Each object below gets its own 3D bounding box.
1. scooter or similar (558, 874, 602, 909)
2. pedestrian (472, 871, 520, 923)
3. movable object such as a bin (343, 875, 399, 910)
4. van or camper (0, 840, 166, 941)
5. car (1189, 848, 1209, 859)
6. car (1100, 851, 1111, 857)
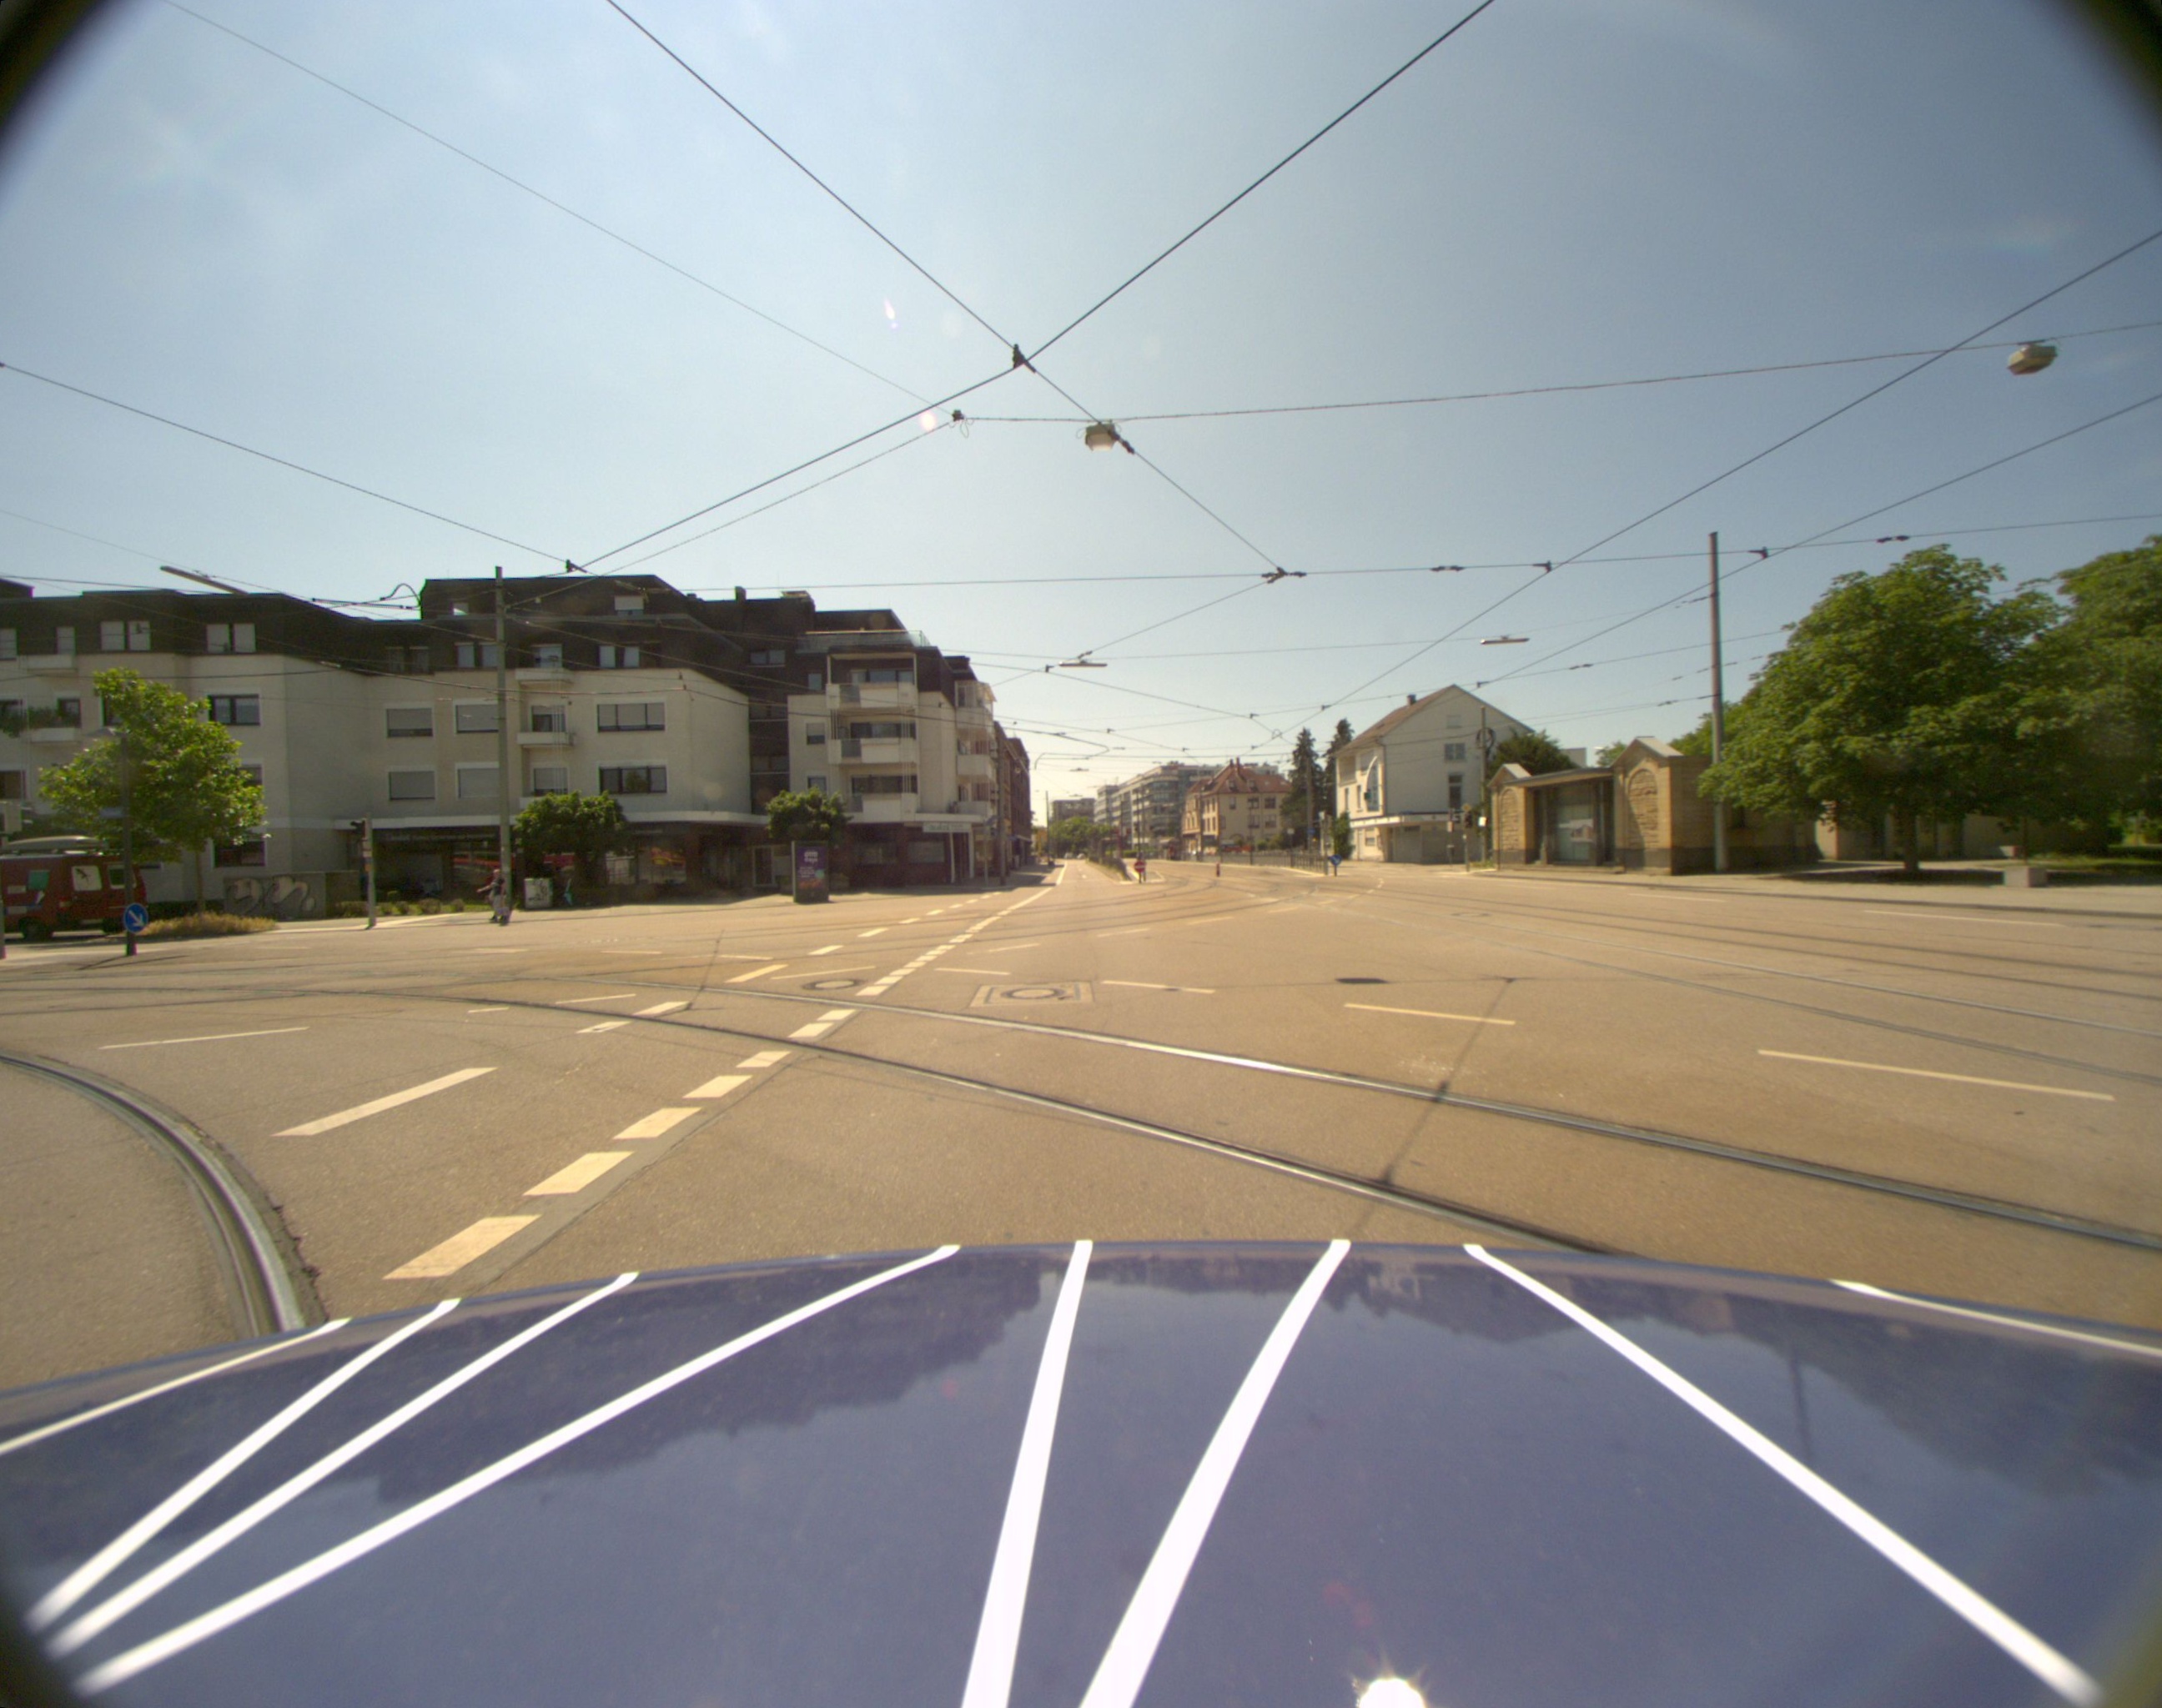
[{"bbox_3d":[-18.106,1.348,27.490,1.257,1.205,0.393,-2,0,-27],"label":"scooter or similar"},{"bbox_3d":[-18.136,1.321,23.572,0.827,1.574,0.827,-1,0,16],"label":"pedestrian"},{"bbox_3d":[-30.061,1.607,32.194,1.321,1.398,1.063,-2,0,-1],"label":"movable object such as a bin"},{"bbox_3d":[-30.583,1.069,22.037,5.237,2.749,2.208,-1,0,-2],"label":"van or camper"},{"bbox_3d":[15.889,-0.082,102.293,1.823,1.481,4.497,-2,0,-2],"label":"car"},{"bbox_3d":[5.924,-0.046,182.763,1.824,1.387,4.171,-2,0,-11],"label":"car"}]
